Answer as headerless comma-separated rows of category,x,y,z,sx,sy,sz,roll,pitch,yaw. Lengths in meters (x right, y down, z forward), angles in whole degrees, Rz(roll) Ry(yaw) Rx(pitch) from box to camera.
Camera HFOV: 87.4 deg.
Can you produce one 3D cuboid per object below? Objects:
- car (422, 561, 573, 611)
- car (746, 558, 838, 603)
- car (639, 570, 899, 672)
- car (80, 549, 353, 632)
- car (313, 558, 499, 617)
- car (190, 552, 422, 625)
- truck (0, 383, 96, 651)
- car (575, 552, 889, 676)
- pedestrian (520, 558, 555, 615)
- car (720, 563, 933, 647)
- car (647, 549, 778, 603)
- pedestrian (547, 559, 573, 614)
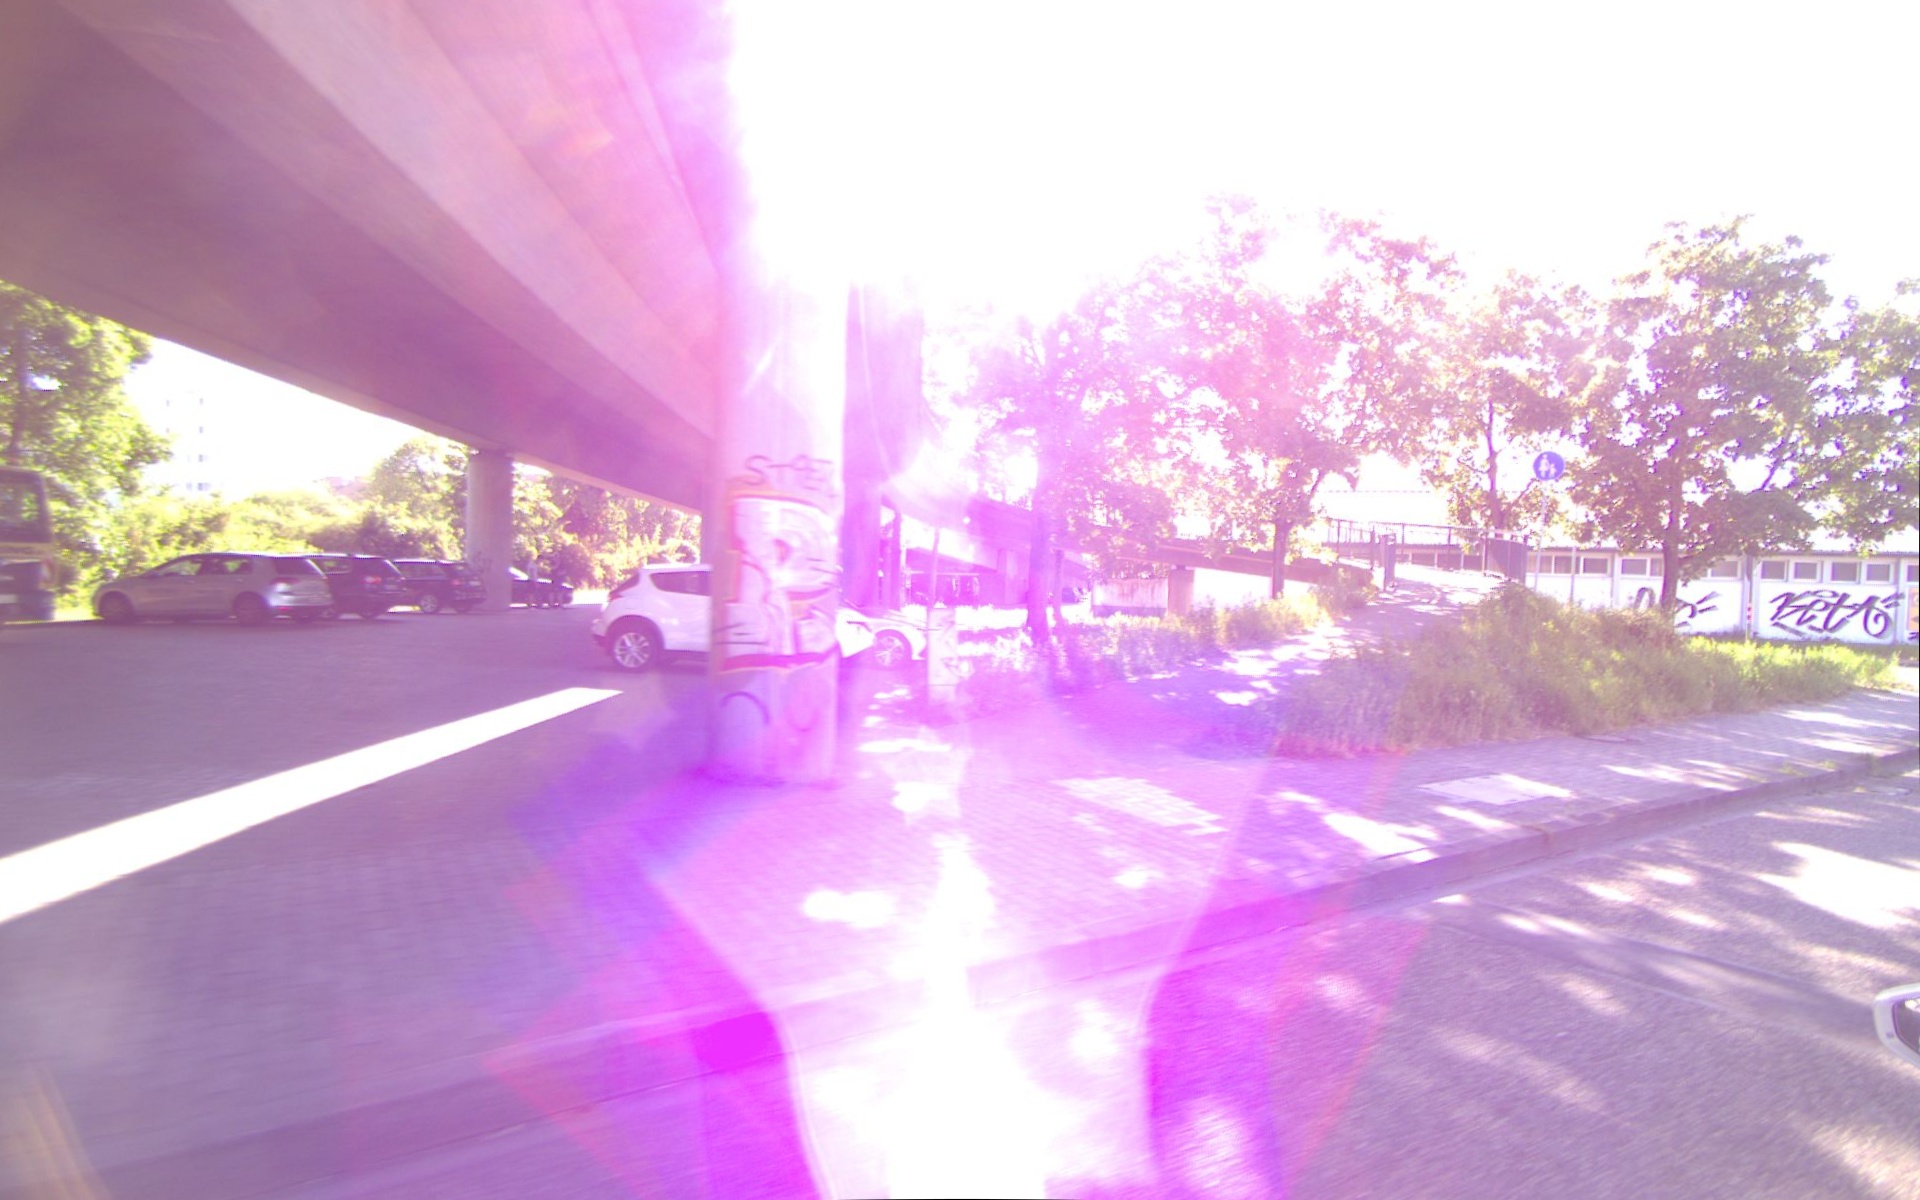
car,-15.276,-0.463,33.288,4.165,1.461,1.741,2,1,3
car,-10.184,-1.189,61.080,5.097,2.507,2.001,2,1,12
car,-3.216,0.353,17.521,4.217,1.573,1.682,2,1,-5
car,-14.844,-0.194,20.201,4.167,1.461,1.740,2,1,0
car,-15.289,-0.347,27.869,4.167,1.461,1.740,2,1,0
car,-14.941,-0.264,23.113,4.167,1.461,1.740,2,1,0
truck,-16.793,-1.242,13.736,7.810,3.599,2.483,2,1,1
car,-3.230,0.232,14.890,4.197,1.663,1.870,1,-2,0
pedestrian,-12.739,-0.412,30.309,0.698,1.685,0.667,2,1,34
car,-2.722,0.098,21.020,4.217,1.573,1.682,2,1,-5
car,-12.841,-1.242,52.307,6.275,2.540,2.001,2,1,8
pedestrian,-12.505,-0.427,31.364,0.700,1.685,0.665,1,1,-24
